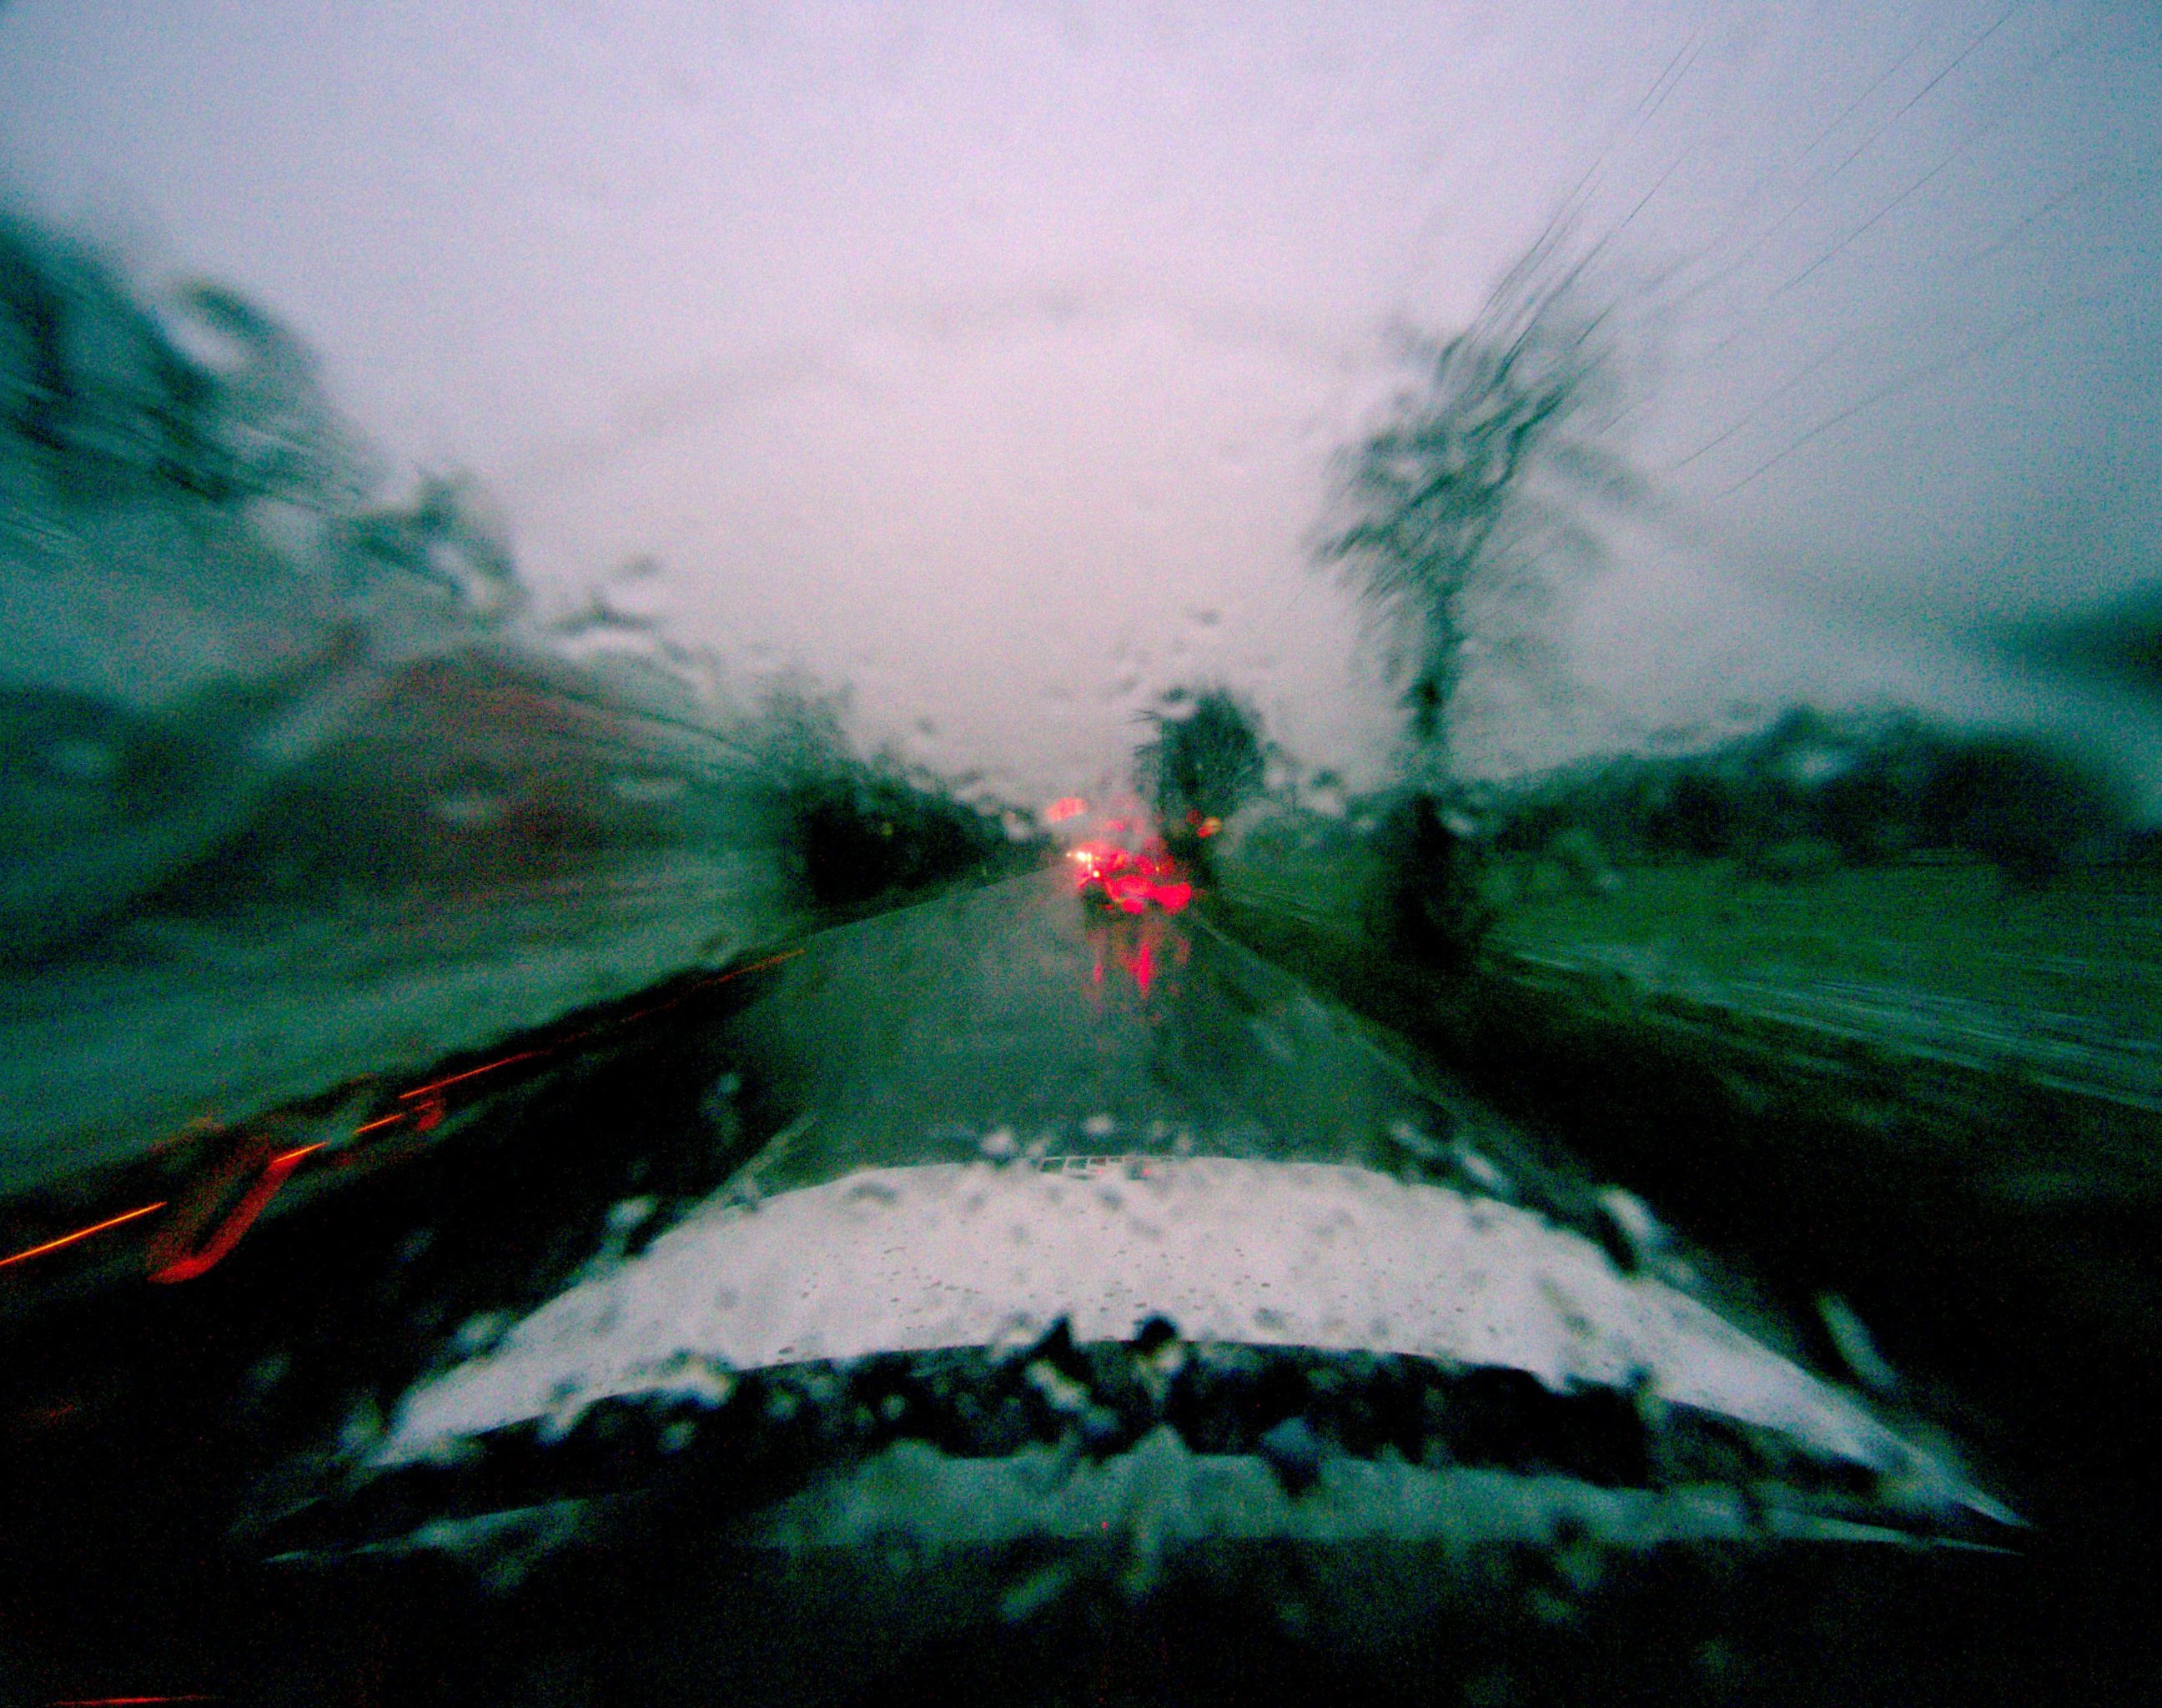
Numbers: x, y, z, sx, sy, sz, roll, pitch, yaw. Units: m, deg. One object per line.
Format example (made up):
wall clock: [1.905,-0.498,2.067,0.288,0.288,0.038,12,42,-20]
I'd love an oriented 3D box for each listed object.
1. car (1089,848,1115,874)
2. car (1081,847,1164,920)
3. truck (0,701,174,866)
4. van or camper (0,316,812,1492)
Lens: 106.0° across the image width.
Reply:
car: [1.715,0.555,65.323,1.985,2.013,4.003,-2,0,3]
car: [1.068,0.728,21.980,1.986,1.752,4.001,-1,0,1]
truck: [-25.426,-1.547,18.398,2.981,3.632,6.068,-1,0,1]
van or camper: [-3.498,0.130,3.733,2.013,2.776,6.746,-2,0,2]
